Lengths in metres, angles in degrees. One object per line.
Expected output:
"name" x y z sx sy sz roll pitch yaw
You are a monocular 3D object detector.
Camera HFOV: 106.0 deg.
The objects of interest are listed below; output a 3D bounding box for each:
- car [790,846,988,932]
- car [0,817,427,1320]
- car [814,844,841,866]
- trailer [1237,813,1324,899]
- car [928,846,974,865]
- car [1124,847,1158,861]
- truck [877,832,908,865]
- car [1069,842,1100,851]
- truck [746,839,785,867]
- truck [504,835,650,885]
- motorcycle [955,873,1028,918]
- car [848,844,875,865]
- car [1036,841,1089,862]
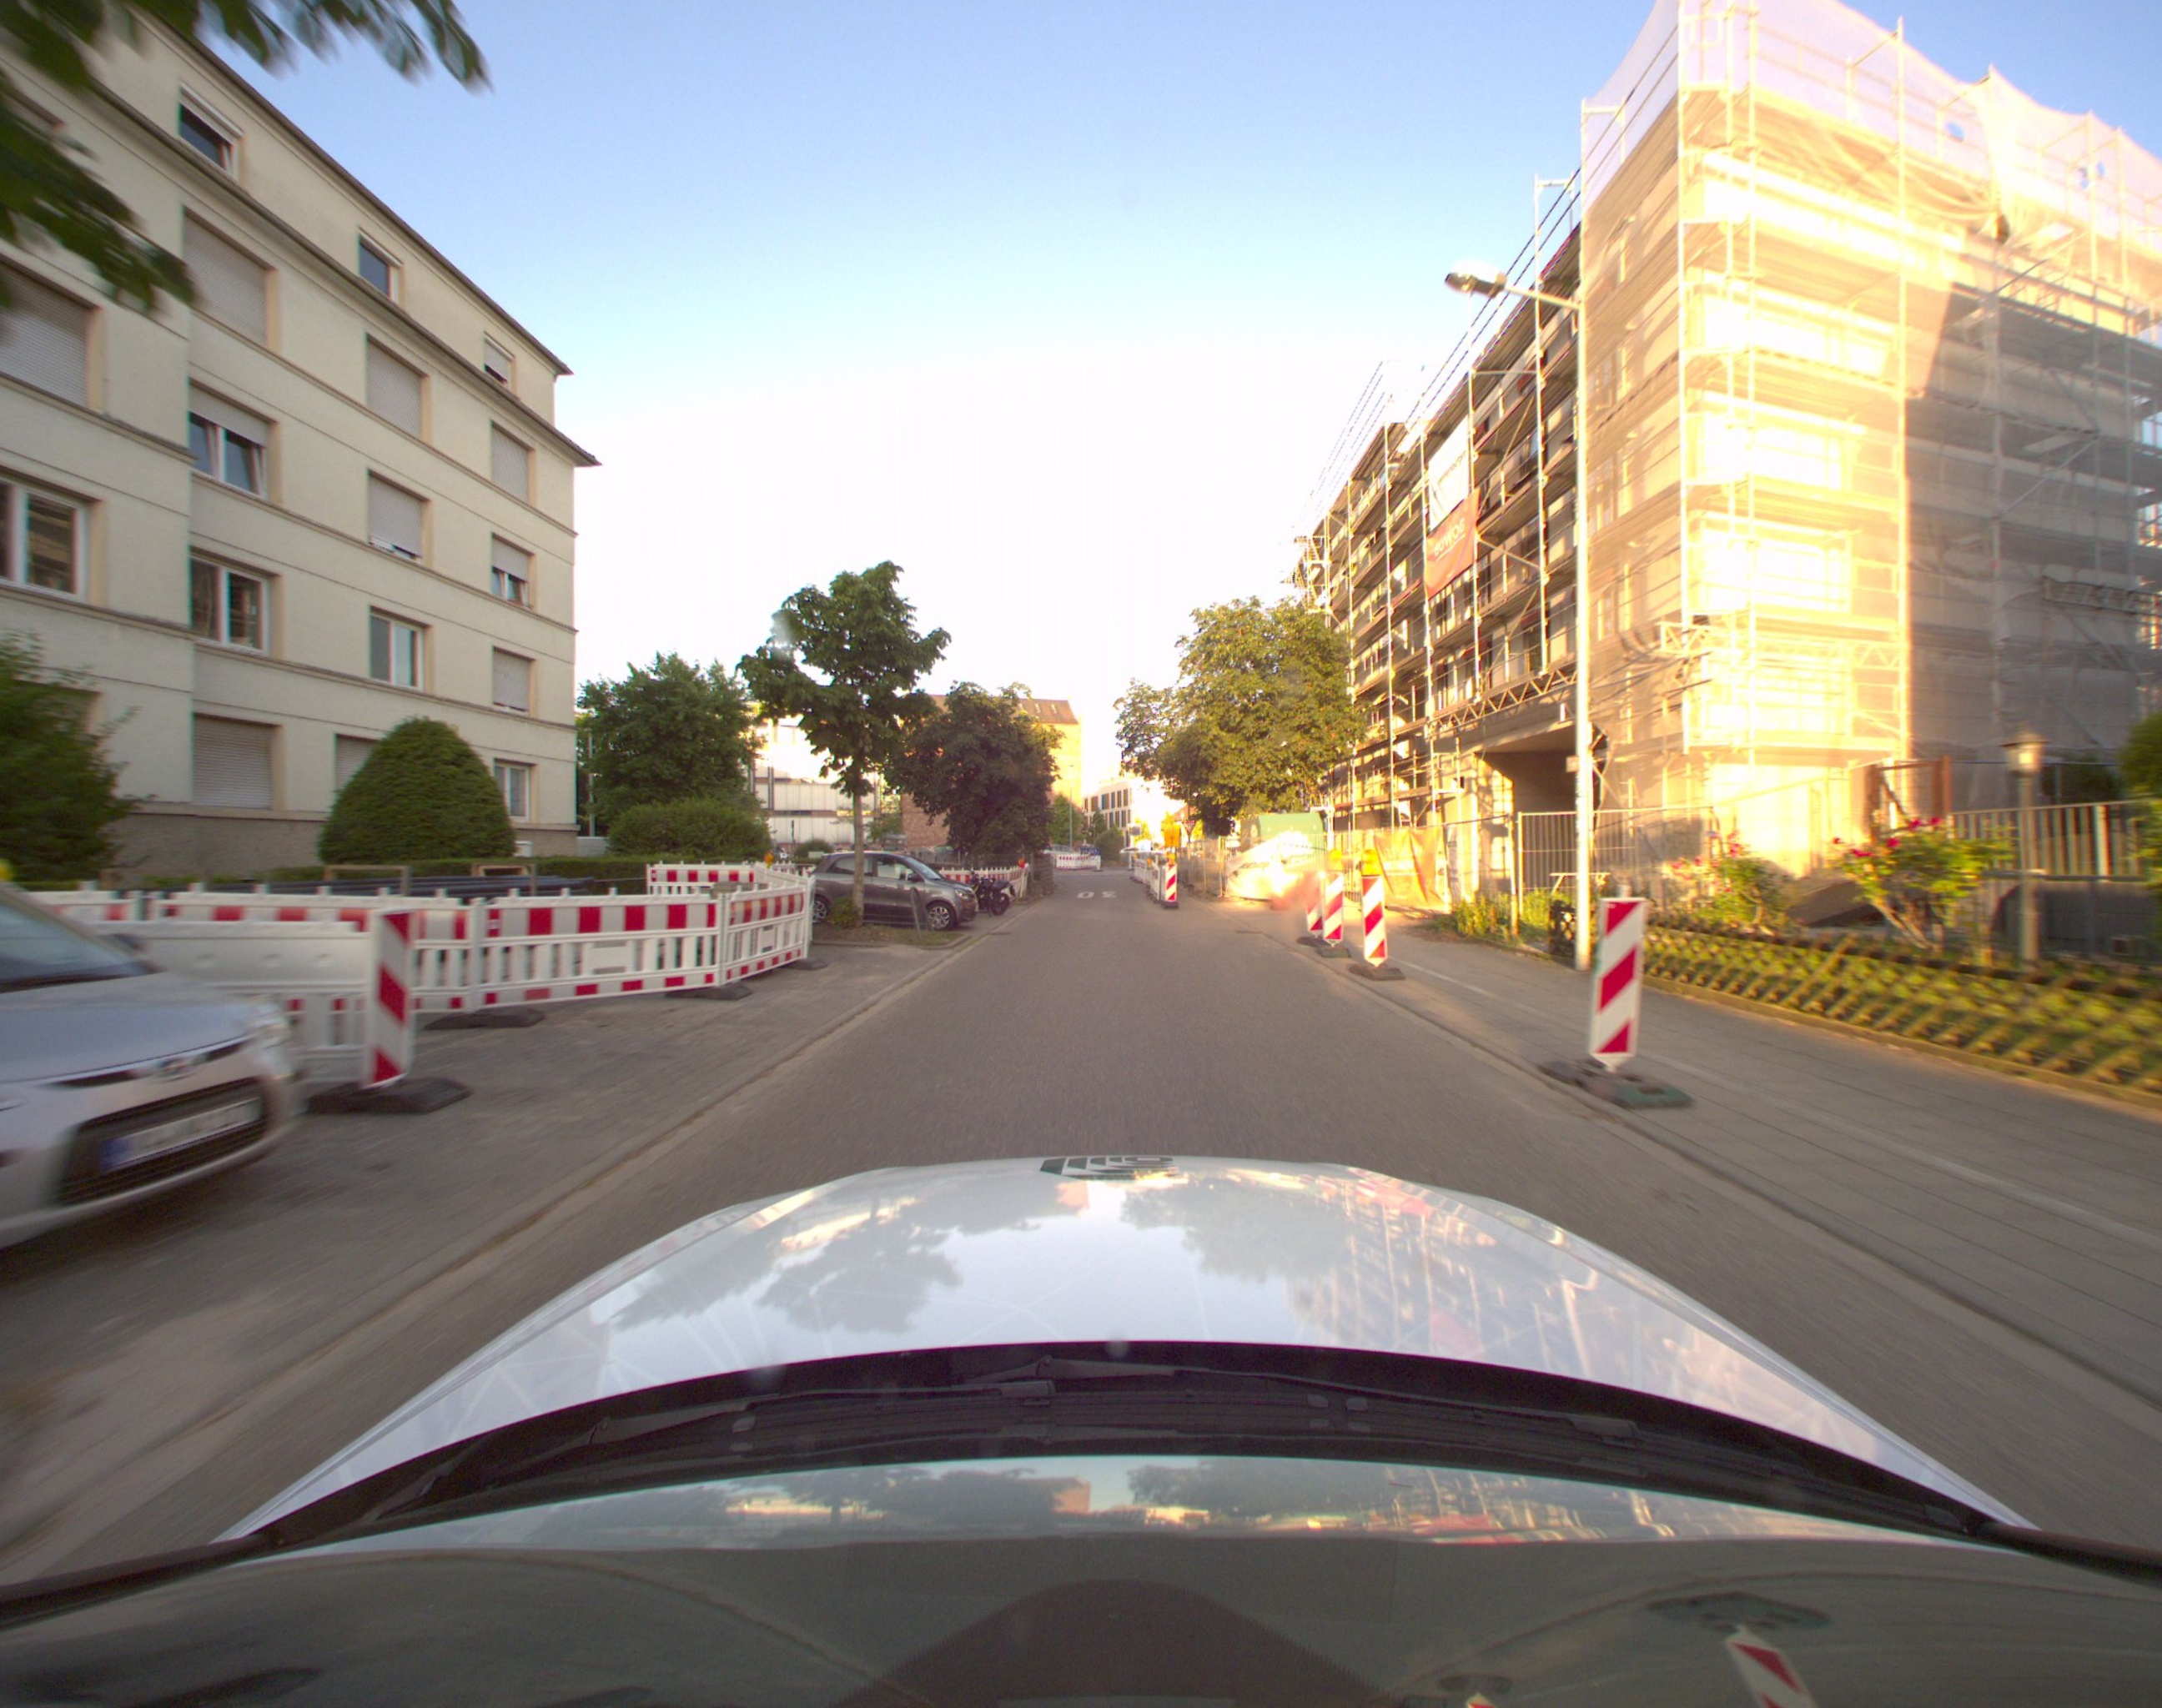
"car" -3.895 0.691 16.946 3.610 1.557 1.694 2 0 1
"car" -5.121 0.657 3.276 3.466 1.566 1.726 1 -1 -3
"car" -20.503 0.044 65.854 1.999 1.727 4.275 -1 1 -18
"trailer" 6.330 0.031 26.315 1.985 2.539 4.189 -1 1 3
"car" -10.747 0.089 67.354 3.637 1.503 1.629 -1 0 -15
"car" 7.109 -0.034 96.864 3.752 1.603 1.676 -1 0 -19
"truck" -15.703 -0.491 67.592 2.338 2.616 4.948 -1 1 -15
"car" 0.537 -1.074 115.738 3.996 1.313 1.867 -1 -1 -17
"truck" -24.726 -0.064 63.903 2.107 2.090 4.494 -1 0 -12
"truck" -25.877 0.261 42.118 6.048 2.422 2.094 -1 1 -21
"motorcycle" -2.202 1.015 20.419 0.532 1.021 2.225 2 0 31
"car" -17.988 0.020 66.632 1.999 1.692 3.976 -1 1 -18
"car" -1.607 -0.234 69.622 4.279 1.708 1.693 -1 0 -17
